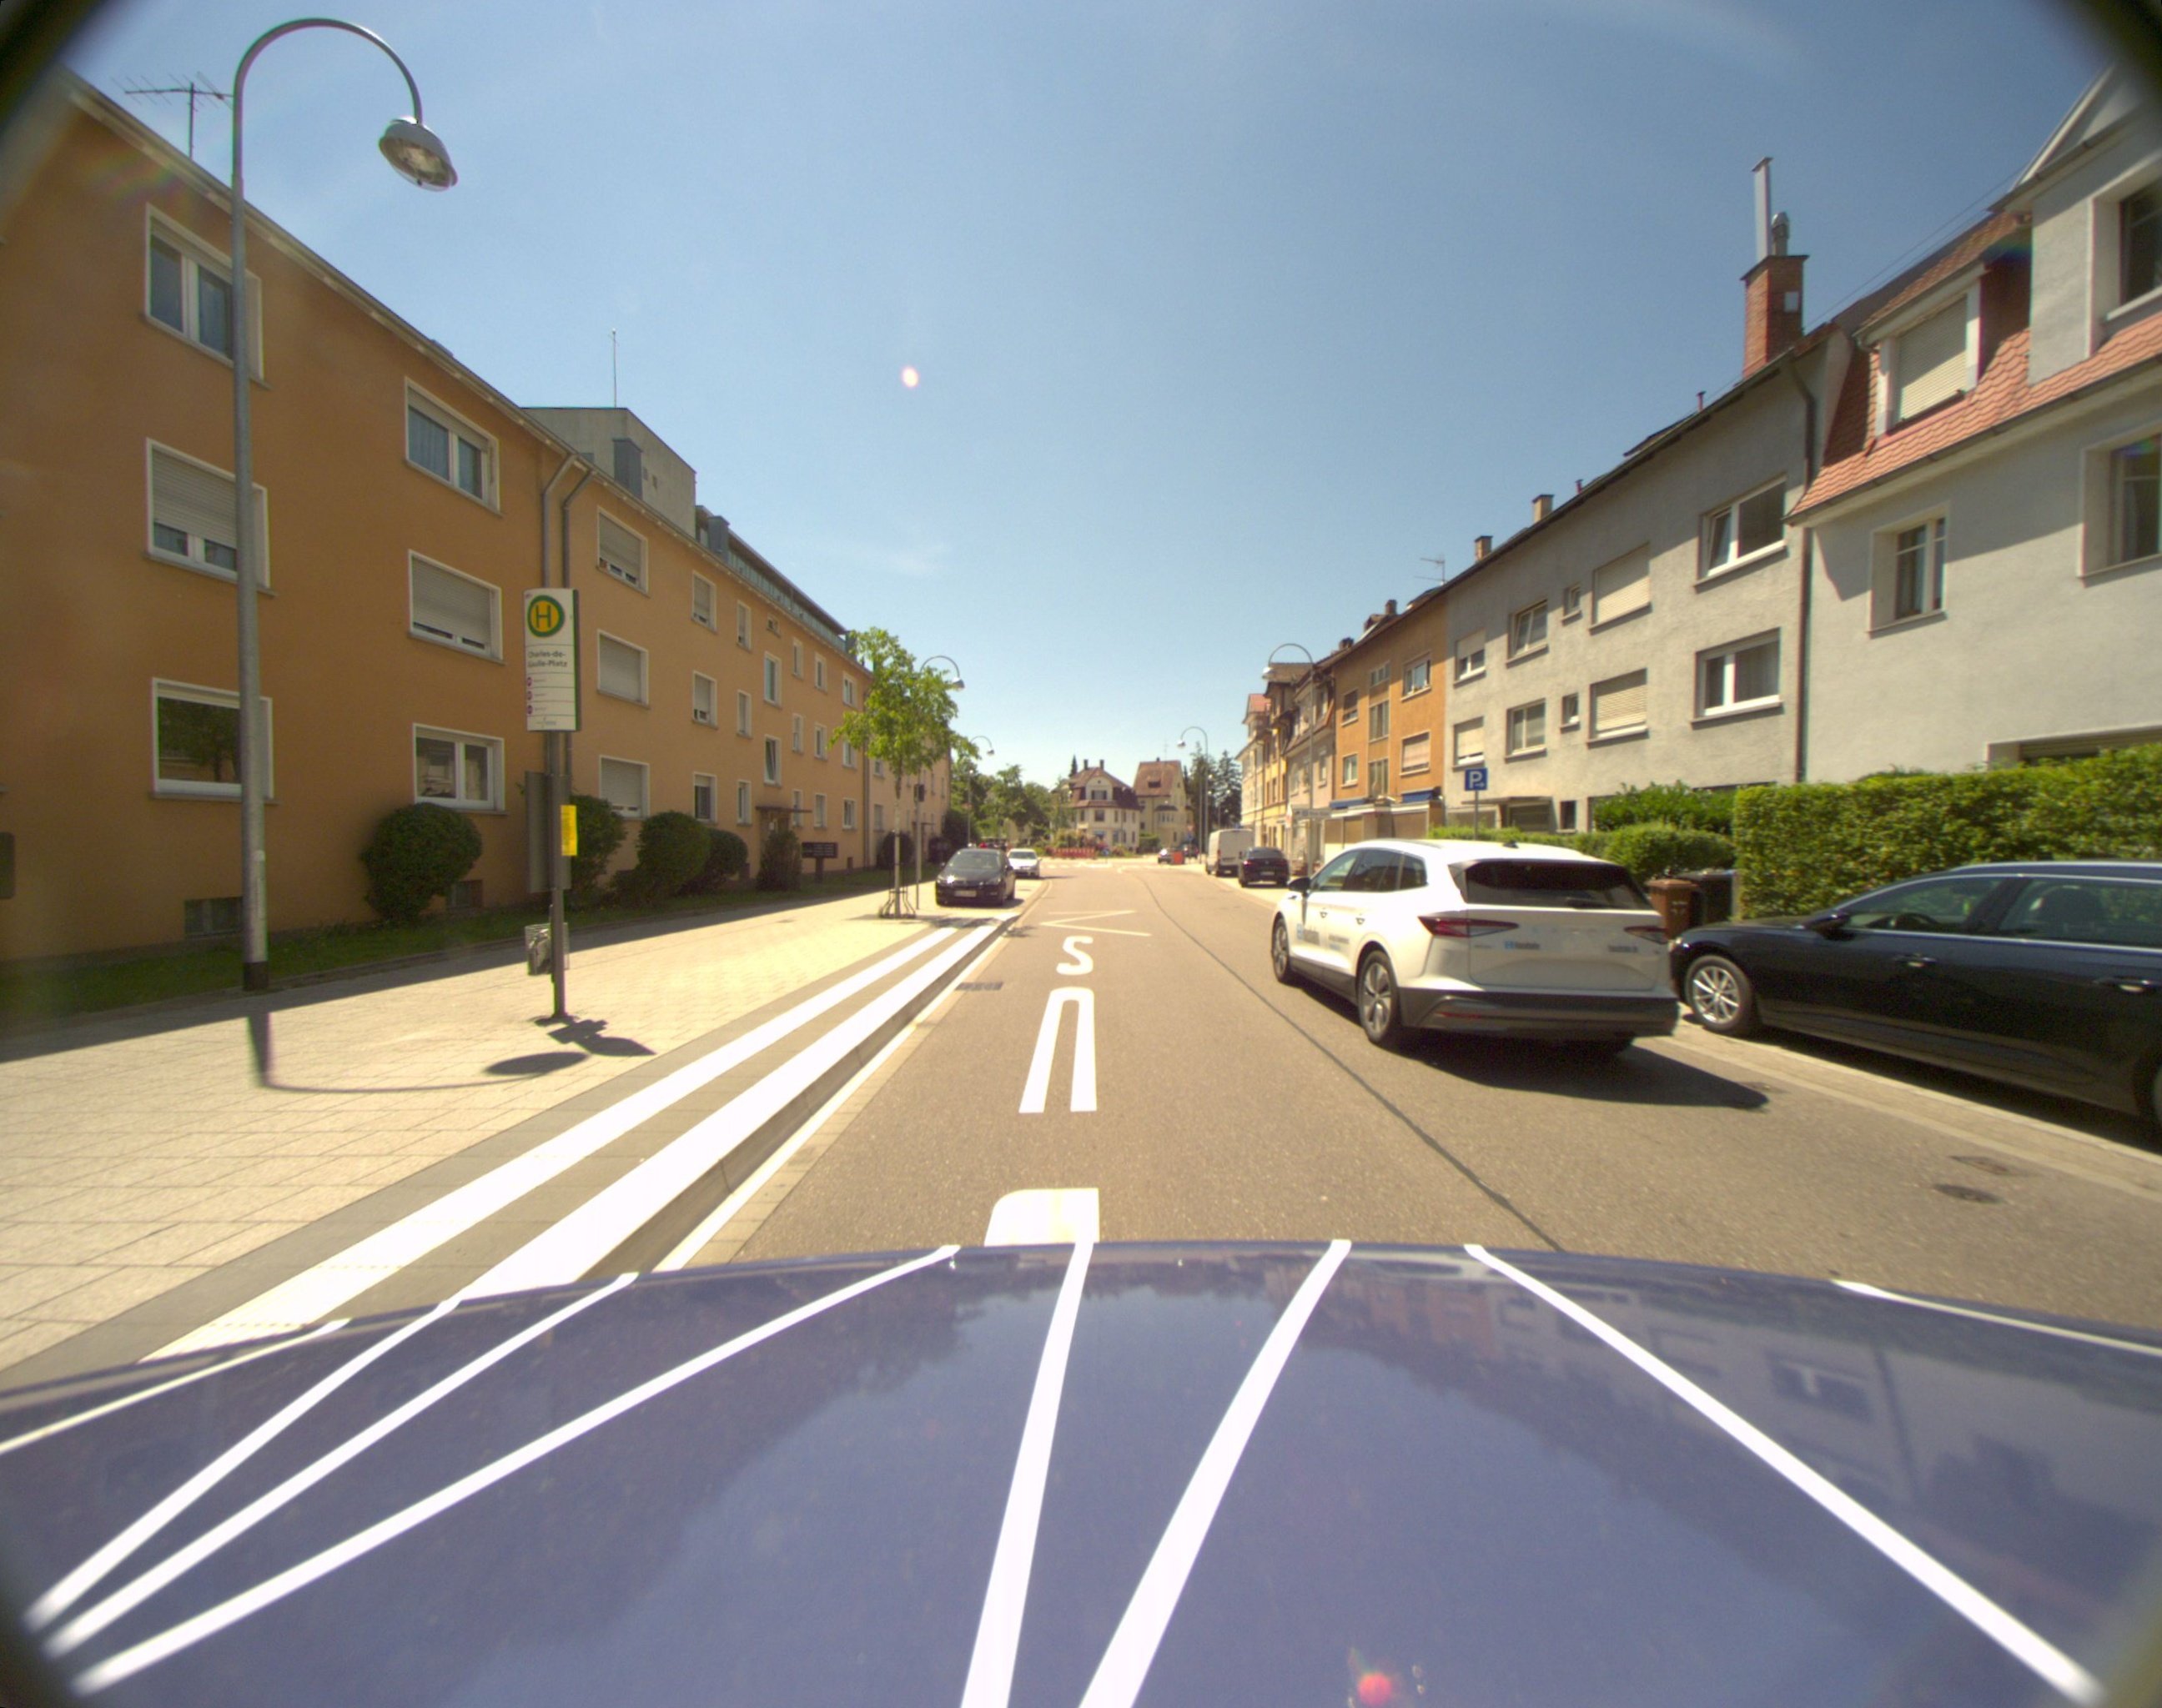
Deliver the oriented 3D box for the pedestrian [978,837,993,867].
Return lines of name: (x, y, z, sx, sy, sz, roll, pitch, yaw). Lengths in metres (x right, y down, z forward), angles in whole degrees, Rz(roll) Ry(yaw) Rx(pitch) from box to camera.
pedestrian: (-5.965, -0.118, 47.316, 0.790, 1.801, 1.005, 3, 1, -3)

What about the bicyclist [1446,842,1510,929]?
bicyclist: (7.813, 0.601, 15.004, 0.784, 1.650, 0.835, 1, 1, -1)

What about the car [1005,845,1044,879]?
car: (-2.775, 0.366, 37.968, 1.818, 1.468, 4.504, 1, 2, -3)

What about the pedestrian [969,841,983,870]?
pedestrian: (-6.557, 0.090, 47.625, 0.796, 1.768, 1.008, 1, 1, -3)

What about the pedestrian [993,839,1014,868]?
pedestrian: (-4.874, -0.055, 47.772, 1.174, 1.723, 1.190, 3, 2, -4)

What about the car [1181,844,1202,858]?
car: (12.982, -0.362, 89.764, 1.800, 1.481, 4.388, -1, 2, -1)

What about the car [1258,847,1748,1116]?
car: (3.081, 0.761, 6.813, 1.882, 1.588, 4.358, 2, 1, -1)

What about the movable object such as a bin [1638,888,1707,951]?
movable object such as a bin: (9.186, 1.004, 11.820, 0.495, 0.906, 0.706, 1, 1, 1)

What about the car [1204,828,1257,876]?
car: (8.265, -0.133, 42.534, 2.124, 2.435, 6.118, -1, 1, 4)

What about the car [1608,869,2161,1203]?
car: (6.049, 0.901, 4.730, 1.868, 1.453, 5.306, -2, 0, 0)

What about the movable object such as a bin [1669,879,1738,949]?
movable object such as a bin: (9.658, 0.917, 11.812, 0.468, 1.024, 0.706, 1, 1, 1)

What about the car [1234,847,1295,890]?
car: (7.479, 0.531, 31.417, 2.089, 1.605, 5.112, -1, 0, 10)

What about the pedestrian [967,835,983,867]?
pedestrian: (-6.115, -0.172, 43.772, 0.822, 1.843, 0.984, 0, 1, -3)

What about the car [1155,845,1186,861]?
car: (8.442, -0.074, 71.137, 1.732, 1.403, 4.007, 2, 0, 24)

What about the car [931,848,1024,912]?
car: (-2.756, 0.621, 21.388, 1.838, 1.495, 5.063, 2, 1, 0)
